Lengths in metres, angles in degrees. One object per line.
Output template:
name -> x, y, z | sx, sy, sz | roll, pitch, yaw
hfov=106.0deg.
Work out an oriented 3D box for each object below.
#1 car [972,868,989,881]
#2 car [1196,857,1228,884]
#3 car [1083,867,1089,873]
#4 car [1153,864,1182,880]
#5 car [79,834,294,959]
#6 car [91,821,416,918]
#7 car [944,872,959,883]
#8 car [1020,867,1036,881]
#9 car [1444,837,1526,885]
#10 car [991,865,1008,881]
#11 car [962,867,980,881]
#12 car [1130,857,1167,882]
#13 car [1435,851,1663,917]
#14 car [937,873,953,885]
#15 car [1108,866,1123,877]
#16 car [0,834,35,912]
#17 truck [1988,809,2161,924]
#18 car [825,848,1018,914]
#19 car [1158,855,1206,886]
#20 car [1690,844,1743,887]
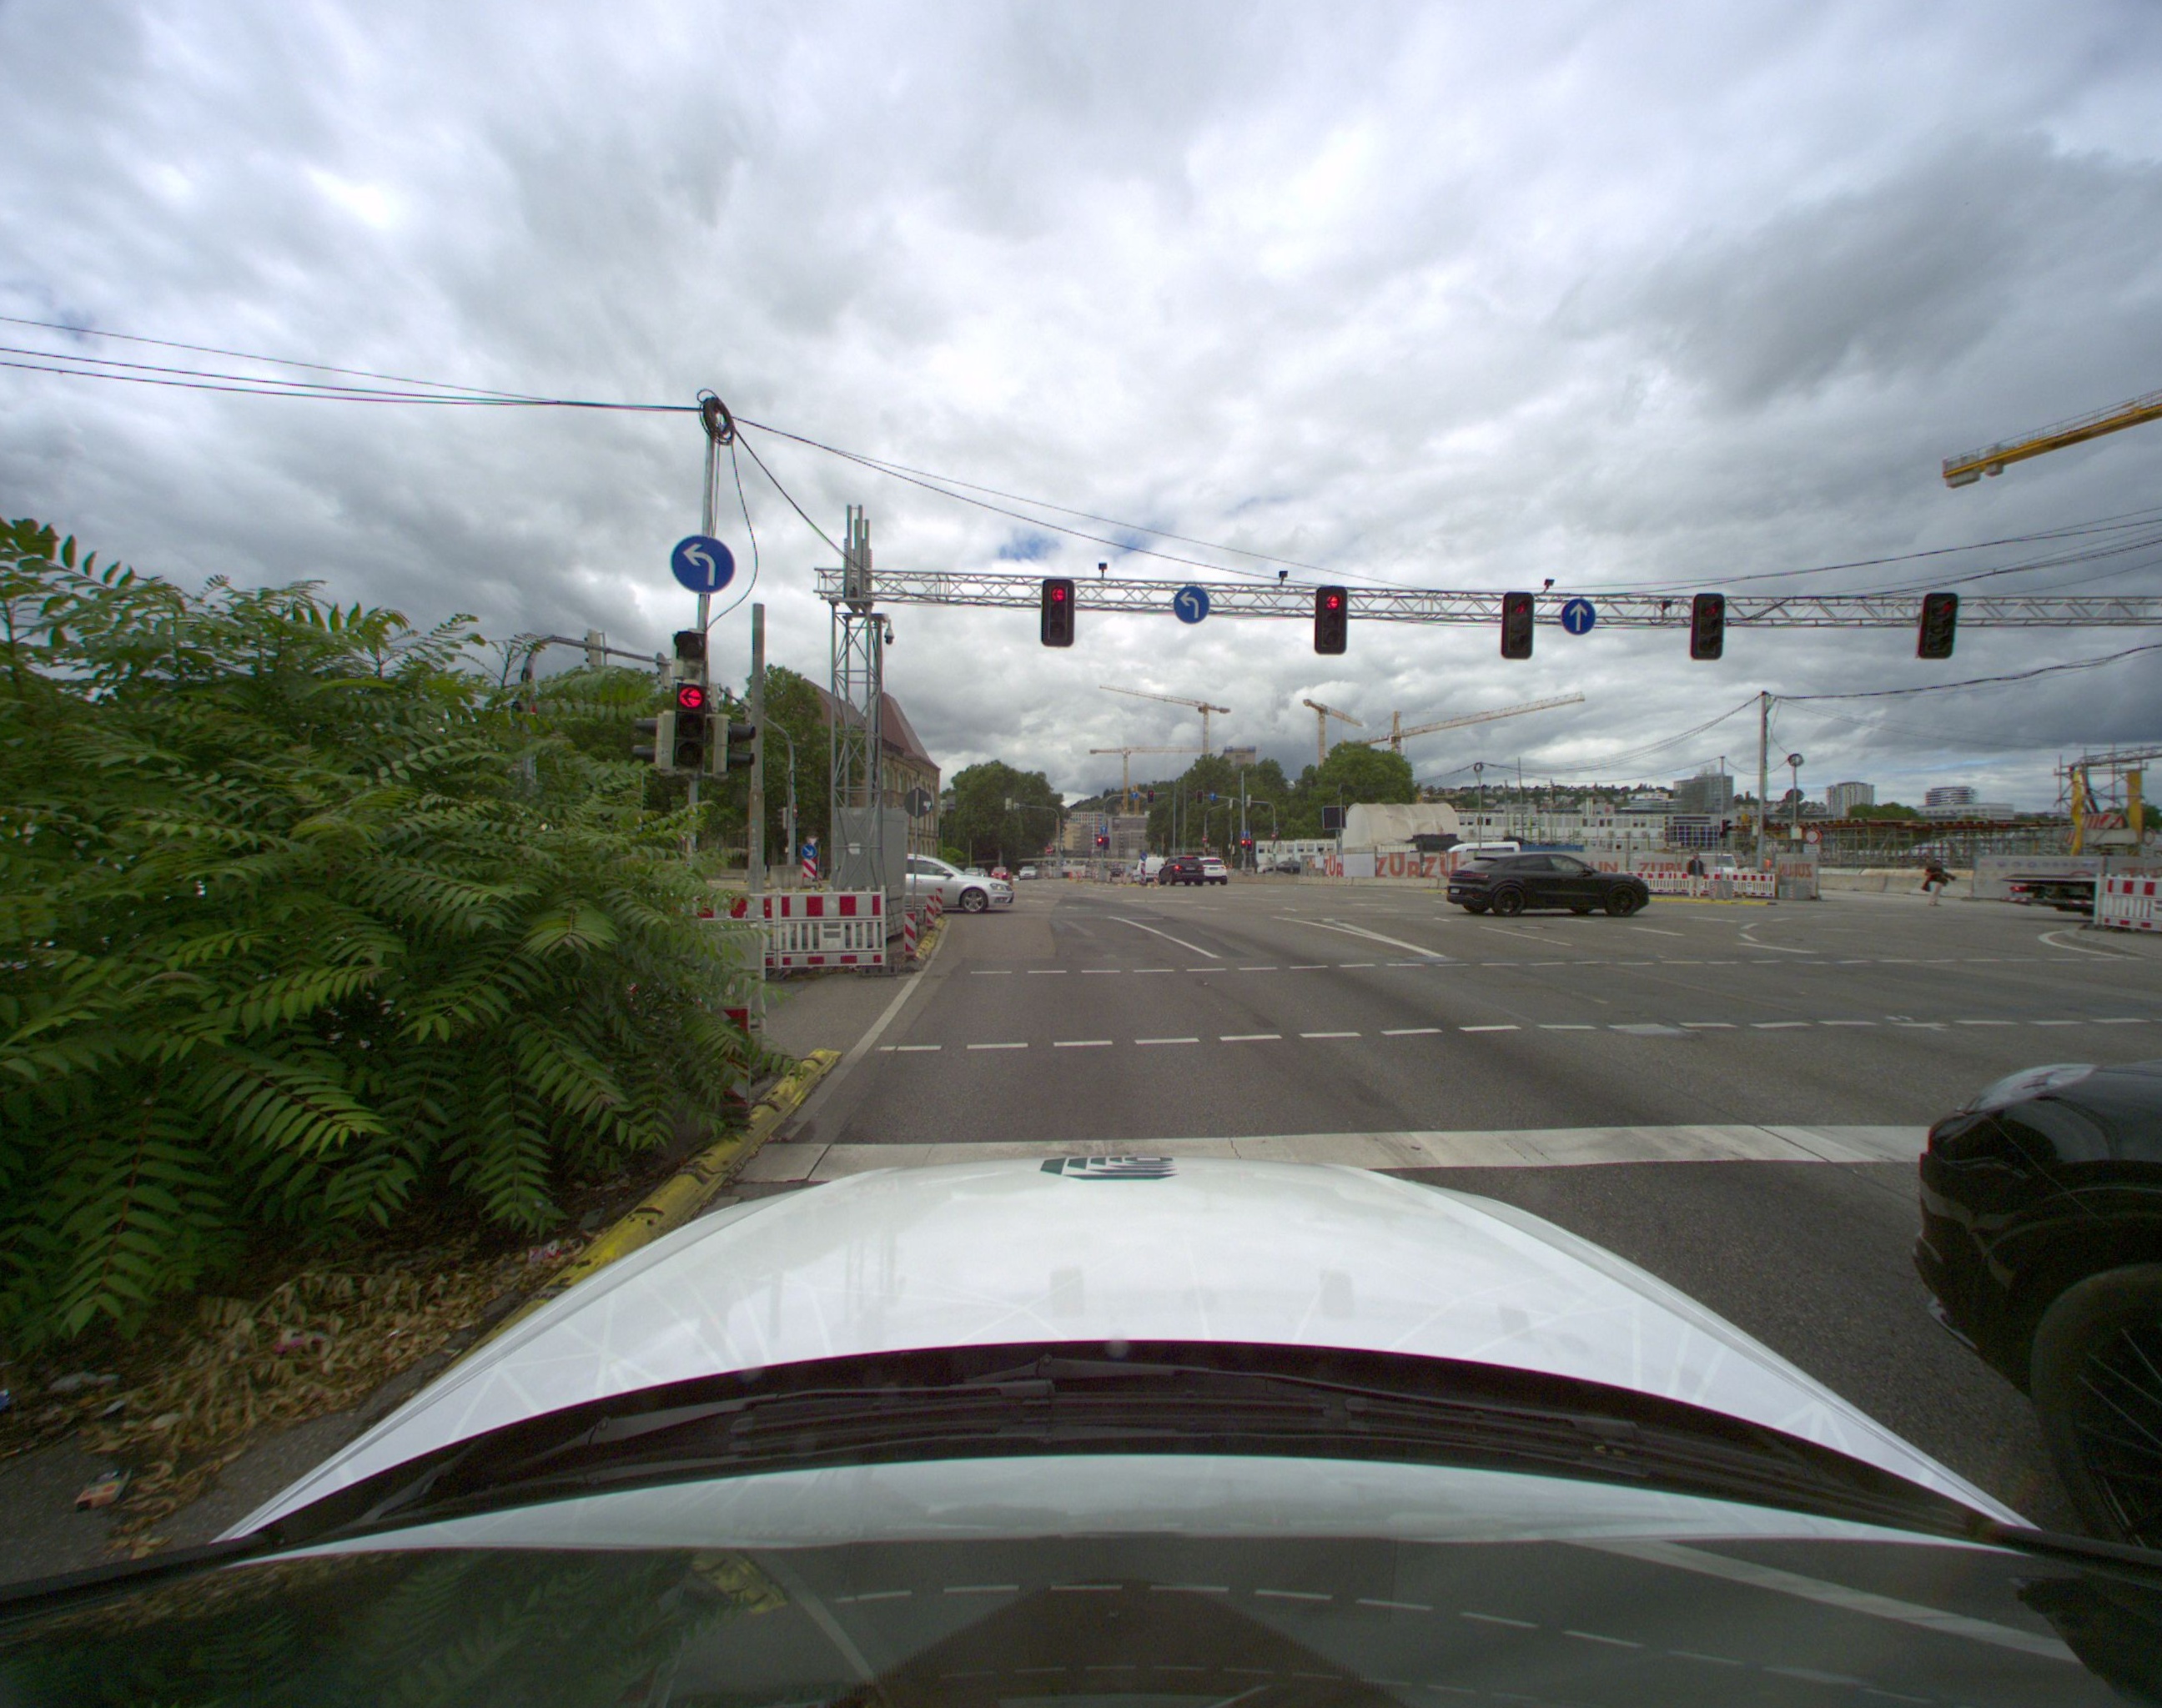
car -> -11.369, 2.264, 92.223 | 1.673, 1.398, 3.677 | 0, -1, -4
car -> 8.478, 1.050, 52.991 | 1.670, 1.702, 3.375 | 0, -1, 2
car -> 1.607, 4.966, 253.925 | 1.987, 2.013, 3.999 | 0, 0, -1
car -> 8.018, 1.673, 75.949 | 1.680, 1.398, 3.069 | 0, -1, -16
car -> -13.736, 0.542, 12.760 | 1.916, 1.625, 4.057 | -2, 1, -43
car -> -20.975, 0.371, 20.911 | 5.745, 2.305, 2.301 | 0, -1, -3
car -> -17.265, 3.159, 108.860 | 1.672, 1.398, 3.677 | -1, -4, -4
car -> -5.587, 2.064, 85.316 | 1.673, 1.398, 3.677 | 0, -1, -4
car -> 23.230, 0.414, 46.965 | 3.957, 2.662, 1.688 | -1, -1, 15
car -> -8.482, 1.993, 85.081 | 1.673, 1.580, 3.677 | 0, -1, -4
car -> -11.622, 2.115, 86.065 | 1.673, 1.398, 3.677 | 0, -1, -4
car -> 4.566, 1.014, 55.568 | 1.814, 1.625, 3.992 | 0, -1, -5
car -> 12.107, 0.766, 21.329 | 4.787, 1.625, 2.022 | 0, -1, 3
car -> -17.028, 3.129, 101.985 | 1.673, 1.398, 3.677 | 0, -1, -4
car -> 4.643, 2.340, 109.821 | 1.673, 1.398, 3.677 | 0, -1, -5
car -> -27.993, 0.465, 18.885 | 4.277, 1.882, 1.820 | 0, -1, -17
truck -> 29.486, 0.300, 21.072 | 8.946, 2.803, 2.628 | 0, 0, 2
car -> -4.042, 0.675, 21.212 | 4.697, 1.625, 1.680 | 0, -1, -2
car -> 5.959, 0.936, 48.484 | 1.830, 1.746, 4.244 | 0, -1, -8
car -> 30.133, 0.551, 38.692 | 1.755, 1.954, 3.146 | -1, -1, 34
